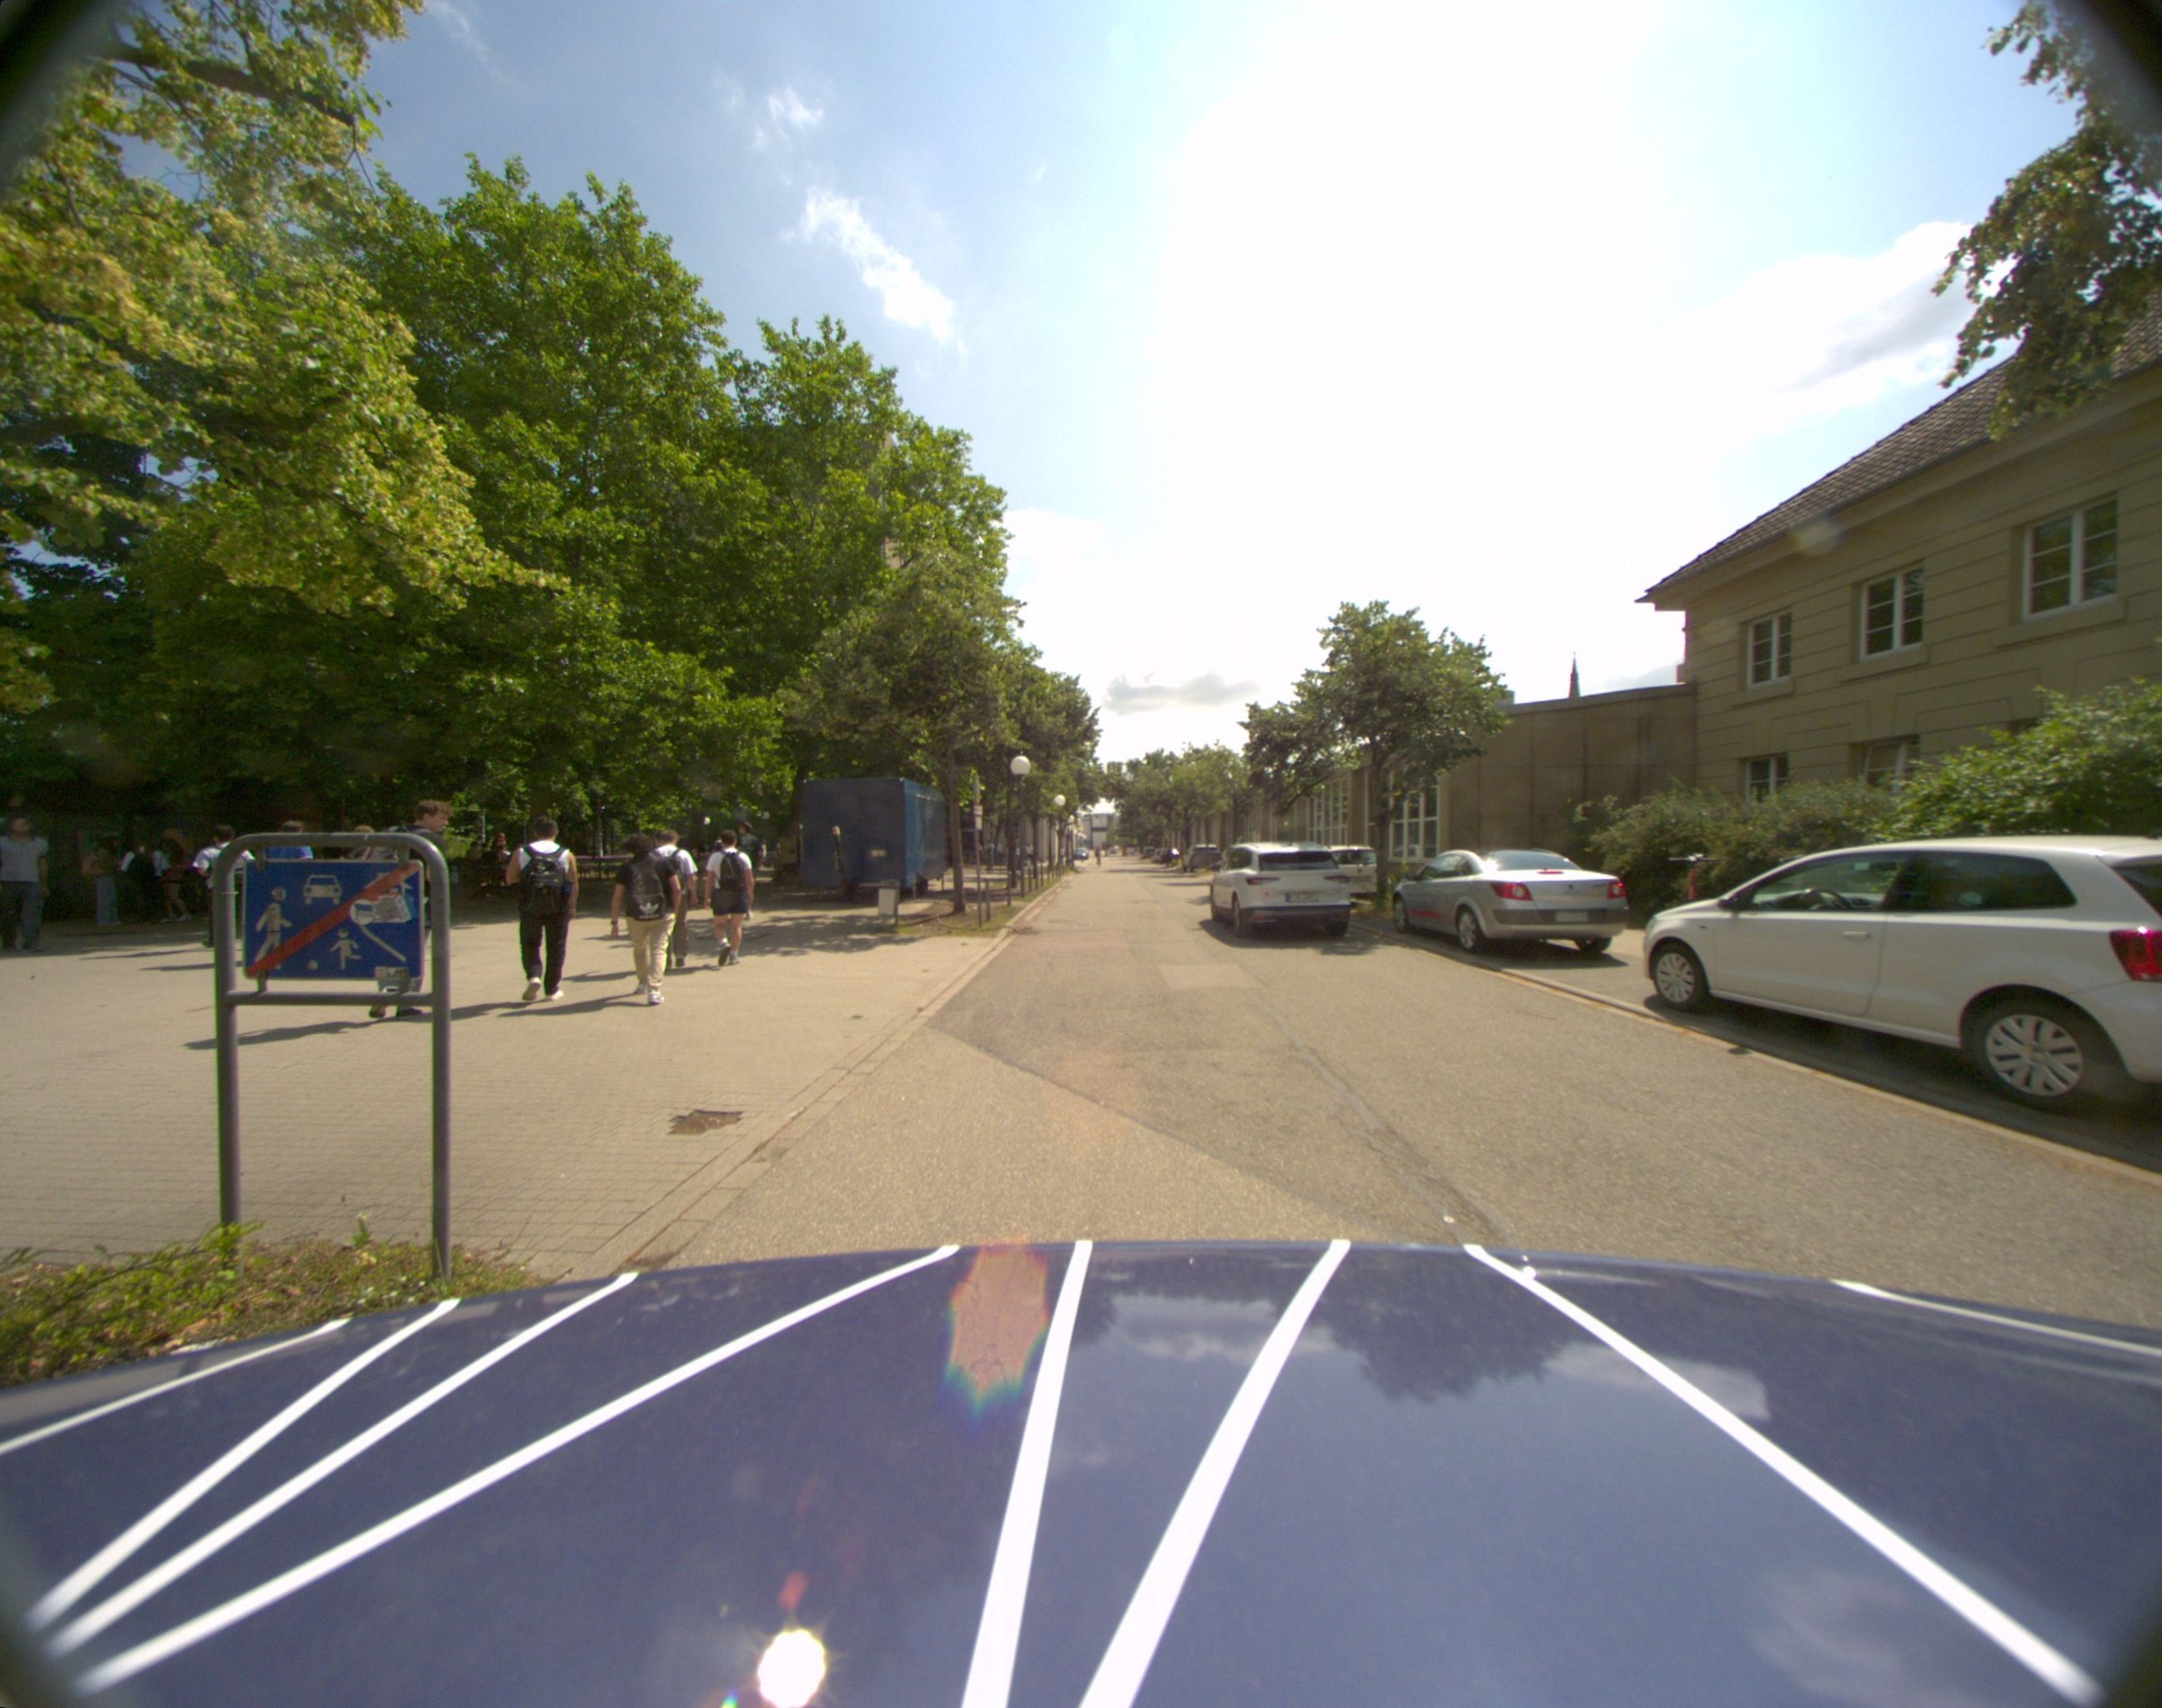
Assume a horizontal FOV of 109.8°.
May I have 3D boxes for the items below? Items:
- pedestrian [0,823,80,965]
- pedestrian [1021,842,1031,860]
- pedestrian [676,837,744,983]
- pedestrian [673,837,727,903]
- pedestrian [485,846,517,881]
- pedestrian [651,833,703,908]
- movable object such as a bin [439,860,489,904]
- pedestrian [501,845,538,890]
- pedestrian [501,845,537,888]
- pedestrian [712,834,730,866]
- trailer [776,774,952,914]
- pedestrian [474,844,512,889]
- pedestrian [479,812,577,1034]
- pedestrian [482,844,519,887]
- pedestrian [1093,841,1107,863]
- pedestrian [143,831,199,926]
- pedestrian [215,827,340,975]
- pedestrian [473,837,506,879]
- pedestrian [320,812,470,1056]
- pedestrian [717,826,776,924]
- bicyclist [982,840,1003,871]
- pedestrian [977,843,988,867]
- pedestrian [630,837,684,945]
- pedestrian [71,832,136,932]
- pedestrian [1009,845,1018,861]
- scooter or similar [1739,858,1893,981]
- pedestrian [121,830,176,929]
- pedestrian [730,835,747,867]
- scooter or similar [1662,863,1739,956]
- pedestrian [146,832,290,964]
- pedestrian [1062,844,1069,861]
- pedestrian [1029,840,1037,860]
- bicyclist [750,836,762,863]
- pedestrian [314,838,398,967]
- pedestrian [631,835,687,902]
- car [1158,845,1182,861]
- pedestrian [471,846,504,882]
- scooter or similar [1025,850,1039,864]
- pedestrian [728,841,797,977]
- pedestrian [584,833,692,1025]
[{"bbox_3d":[-14.582,0.516,10.432,0.834,1.872,0.732,1,3,21],"label":"pedestrian"},{"bbox_3d":[-5.492,-0.327,75.599,0.811,1.787,0.618,-2,2,-42],"label":"pedestrian"},{"bbox_3d":[-4.686,0.669,9.577,0.679,1.729,0.906,1,0,-31],"label":"pedestrian"},{"bbox_3d":[-9.724,0.387,19.419,0.877,1.629,0.948,1,2,2],"label":"pedestrian"},{"bbox_3d":[-21.394,0.354,28.055,0.668,1.264,0.622,2,0,-2],"label":"pedestrian"},{"bbox_3d":[-8.942,0.350,16.801,0.852,1.586,0.828,0,1,-41],"label":"pedestrian"},{"bbox_3d":[-15.894,0.710,19.585,0.600,1.065,0.742,0,3,3],"label":"movable object such as a bin"},{"bbox_3d":[-17.366,0.418,23.521,0.571,1.339,0.729,2,0,-2],"label":"pedestrian"},{"bbox_3d":[-18.007,0.390,24.366,0.571,1.339,0.729,2,0,-2],"label":"pedestrian"},{"bbox_3d":[-22.154,-0.247,46.819,0.836,1.938,1.077,1,1,-18],"label":"pedestrian"},{"bbox_3d":[-5.288,-0.258,19.780,2.698,3.034,6.256,1,1,1],"label":"trailer"},{"bbox_3d":[-18.180,0.382,23.494,0.571,1.339,0.729,2,0,-2],"label":"pedestrian"},{"bbox_3d":[-5.227,0.601,7.233,0.619,1.969,0.826,-1,3,-29],"label":"pedestrian"},{"bbox_3d":[-18.587,0.364,24.334,0.571,1.339,0.729,2,0,-2],"label":"pedestrian"},{"bbox_3d":[1.550,-0.188,62.057,0.750,1.730,0.935,-2,2,-35],"label":"pedestrian"},{"bbox_3d":[-18.271,0.482,15.262,0.448,1.872,0.530,-1,1,12],"label":"pedestrian"},{"bbox_3d":[-10.073,0.552,9.559,0.710,1.778,0.751,0,3,-10],"label":"pedestrian"},{"bbox_3d":[-22.862,0.140,29.369,0.719,1.572,0.668,2,1,-11],"label":"pedestrian"},{"bbox_3d":[-5.905,0.633,6.603,0.692,1.969,0.827,-1,3,-24],"label":"pedestrian"},{"bbox_3d":[-6.559,0.386,14.943,0.855,1.849,1.114,0,3,-14],"label":"pedestrian"},{"bbox_3d":[-4.573,0.081,39.345,0.651,1.558,1.197,3,2,16],"label":"bicyclist"},{"bbox_3d":[-6.503,0.055,50.076,0.570,1.563,0.927,1,5,3],"label":"pedestrian"},{"bbox_3d":[-7.059,0.574,12.636,0.705,1.710,0.991,-2,3,-32],"label":"pedestrian"},{"bbox_3d":[-18.730,0.523,14.576,0.530,1.872,0.557,0,2,-26],"label":"pedestrian"},{"bbox_3d":[-6.443,-0.065,72.574,0.797,1.533,0.663,0,2,-4],"label":"pedestrian"},{"bbox_3d":[8.296,0.693,8.645,0.525,1.280,1.229,3,0,2],"label":"scooter or similar"},{"bbox_3d":[-18.072,0.480,14.724,0.528,1.872,0.560,0,1,32],"label":"pedestrian"},{"bbox_3d":[-21.215,-0.206,47.123,0.836,1.938,1.077,1,1,-18],"label":"pedestrian"},{"bbox_3d":[8.498,0.721,10.459,0.470,1.165,1.229,0,2,22],"label":"scooter or similar"},{"bbox_3d":[-11.641,0.560,10.274,1.107,1.707,0.710,0,3,6],"label":"pedestrian"},{"bbox_3d":[-1.598,-0.185,77.529,0.613,1.719,0.542,0,2,3],"label":"pedestrian"},{"bbox_3d":[-4.676,-0.376,74.428,0.687,1.880,0.686,-1,2,-1],"label":"pedestrian"},{"bbox_3d":[-20.490,-0.284,47.911,0.532,1.719,1.077,1,1,-18],"label":"bicyclist"},{"bbox_3d":[-9.395,0.606,9.865,0.503,1.622,0.570,0,3,-10],"label":"pedestrian"},{"bbox_3d":[-10.645,0.358,19.203,0.877,1.629,0.948,1,2,2],"label":"pedestrian"},{"bbox_3d":[8.164,-0.082,69.856,1.729,1.427,4.290,-2,0,1],"label":"car"},{"bbox_3d":[-21.246,0.361,27.196,0.668,1.264,0.622,2,0,-2],"label":"pedestrian"},{"bbox_3d":[-3.973,0.223,61.494,0.496,1.107,1.365,0,0,27],"label":"scooter or similar"},{"bbox_3d":[-4.295,0.691,10.222,0.702,1.729,0.981,-1,1,-32],"label":"pedestrian"},{"bbox_3d":[-4.381,0.683,7.559,0.856,1.763,0.801,-1,3,-29],"label":"pedestrian"}]
